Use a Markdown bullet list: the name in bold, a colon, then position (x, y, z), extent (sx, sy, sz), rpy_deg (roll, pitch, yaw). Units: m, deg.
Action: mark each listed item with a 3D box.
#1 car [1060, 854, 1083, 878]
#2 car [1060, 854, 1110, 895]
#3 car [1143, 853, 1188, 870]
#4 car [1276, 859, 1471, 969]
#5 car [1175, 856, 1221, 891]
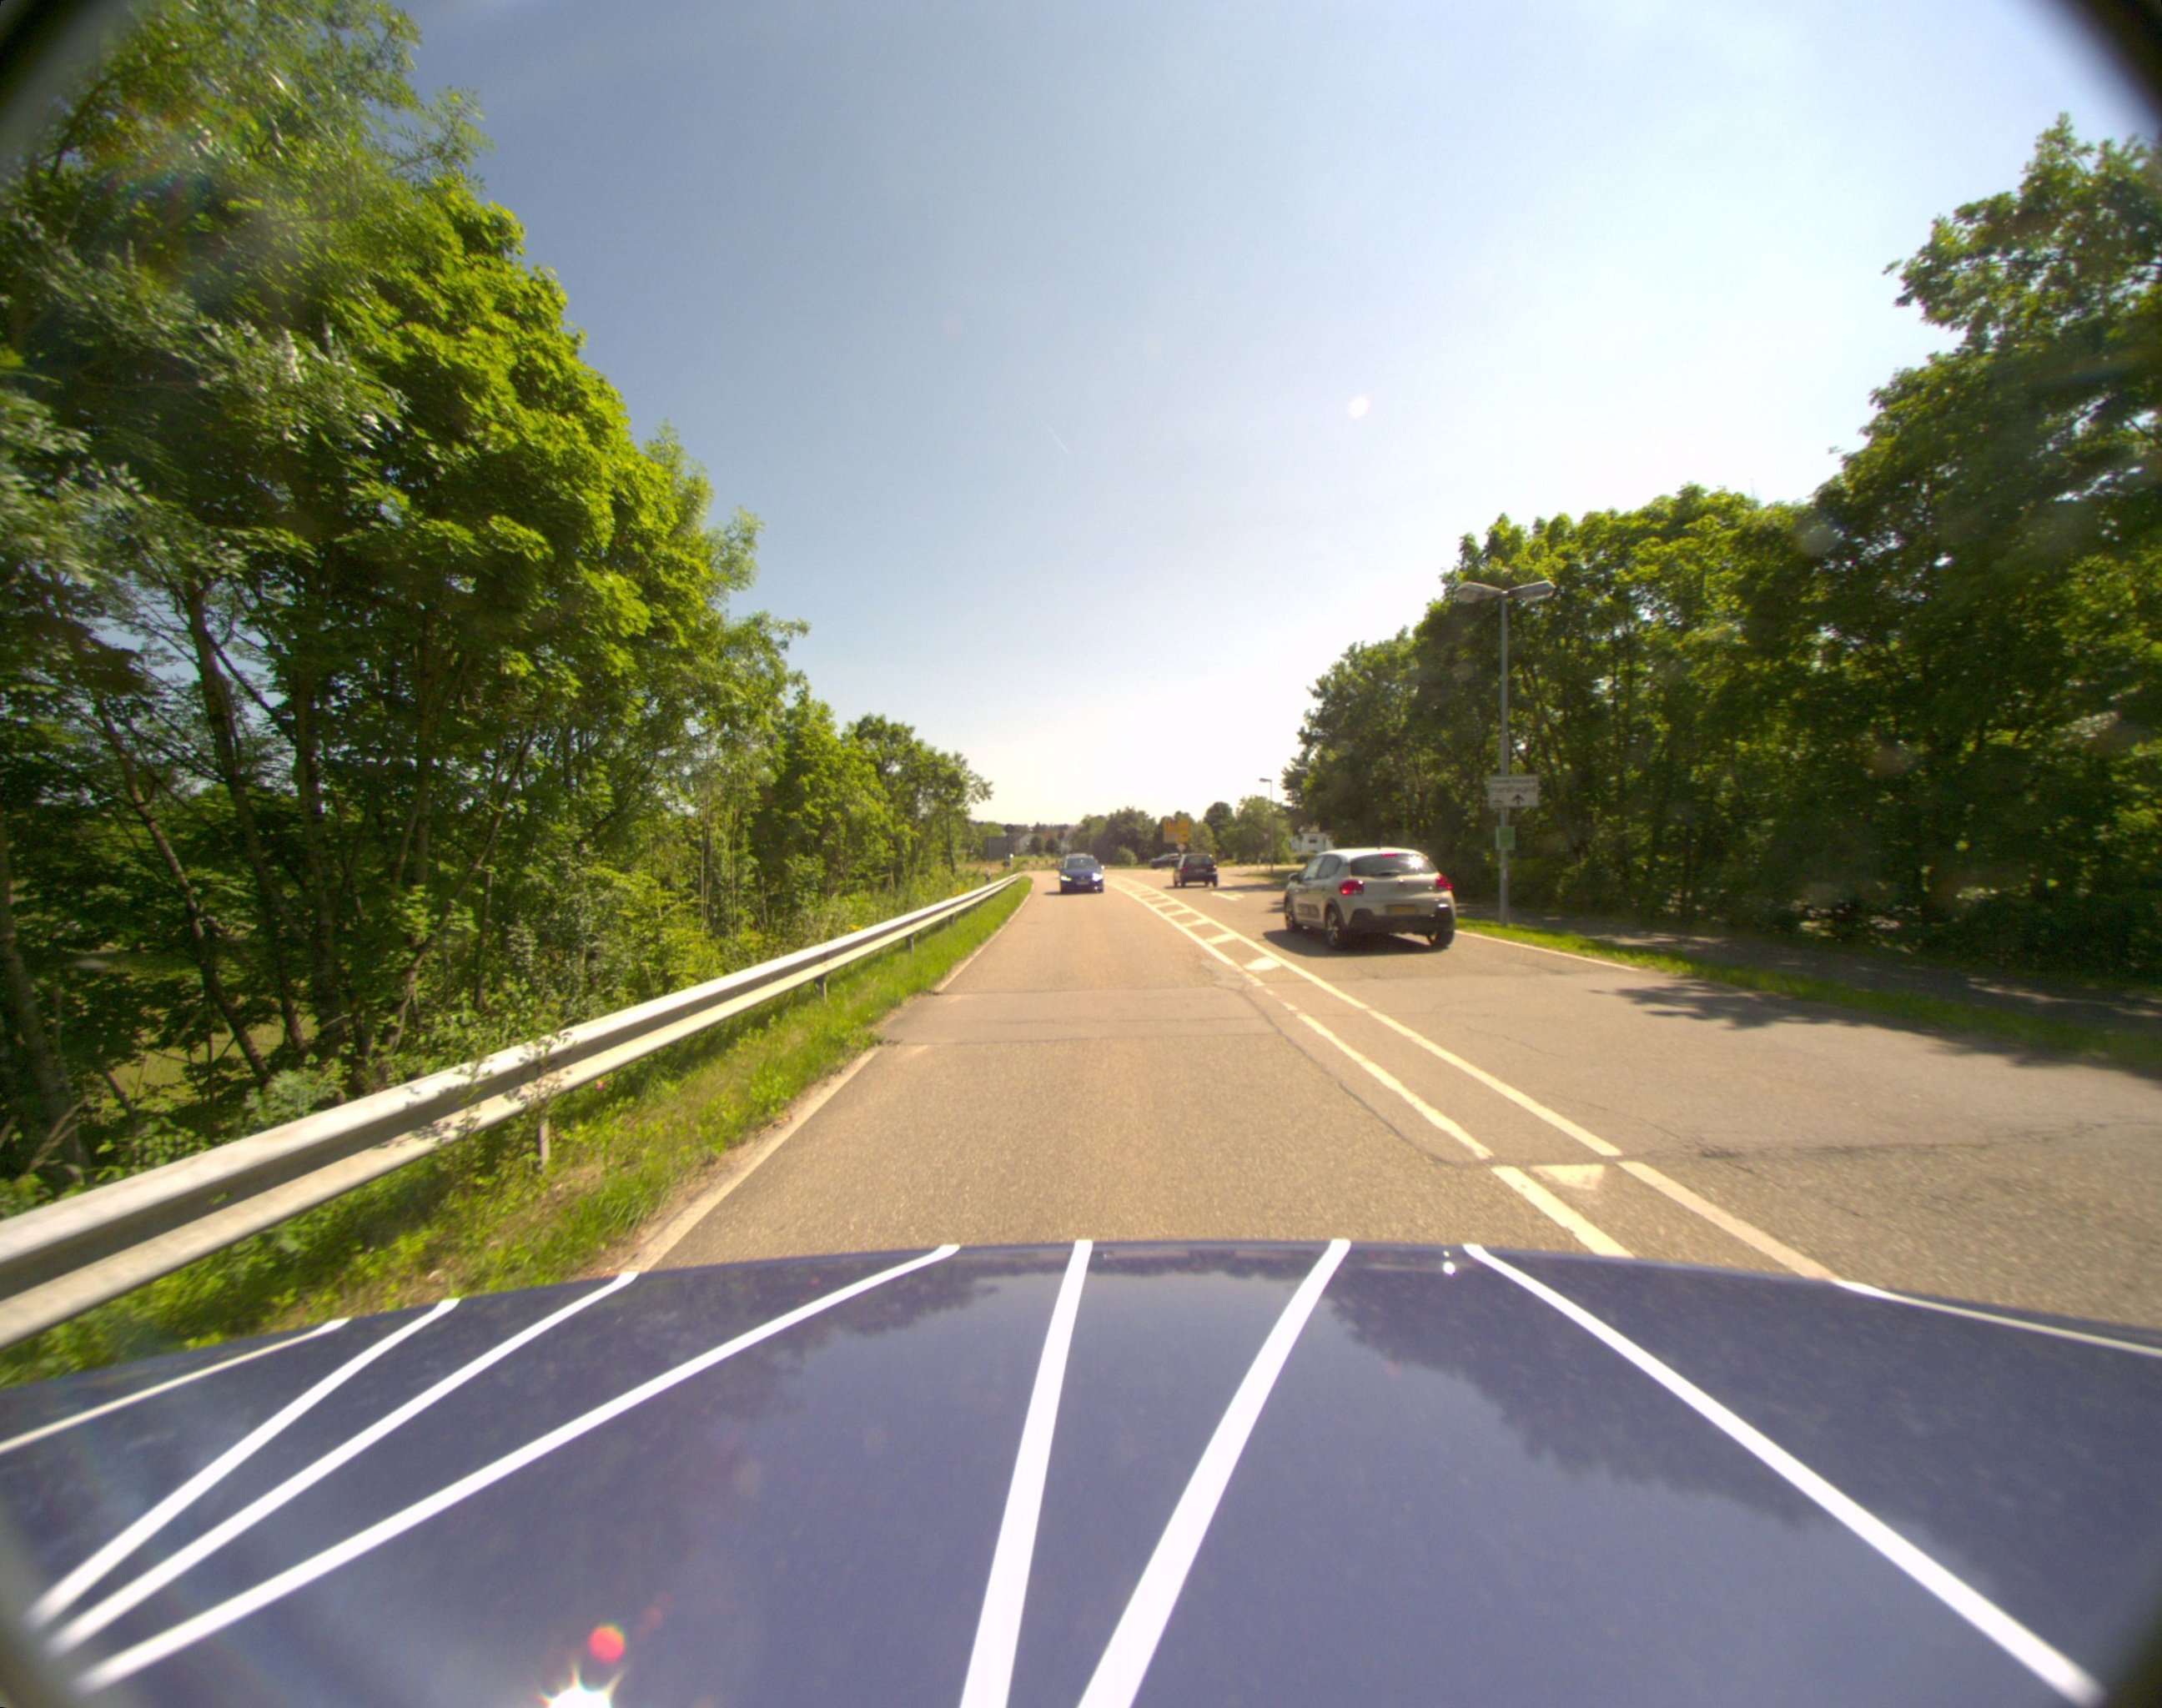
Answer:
- **car**: position (-0.773, 1.030, 65.374), extent (1.779, 2.006, 4.001), rpy_deg (0, 0, 1)
- **car**: position (0.107, 0.811, 32.329), extent (1.829, 1.592, 4.193), rpy_deg (1, 1, -3)
- **car**: position (8.974, 0.772, 80.594), extent (4.381, 1.635, 1.747), rpy_deg (-1, -3, -21)
- **car**: position (4.482, 0.836, 12.294), extent (1.743, 1.447, 3.889), rpy_deg (-1, 0, 2)
- **car**: position (5.126, 0.816, 33.736), extent (1.630, 1.396, 3.433), rpy_deg (-2, 1, 3)
